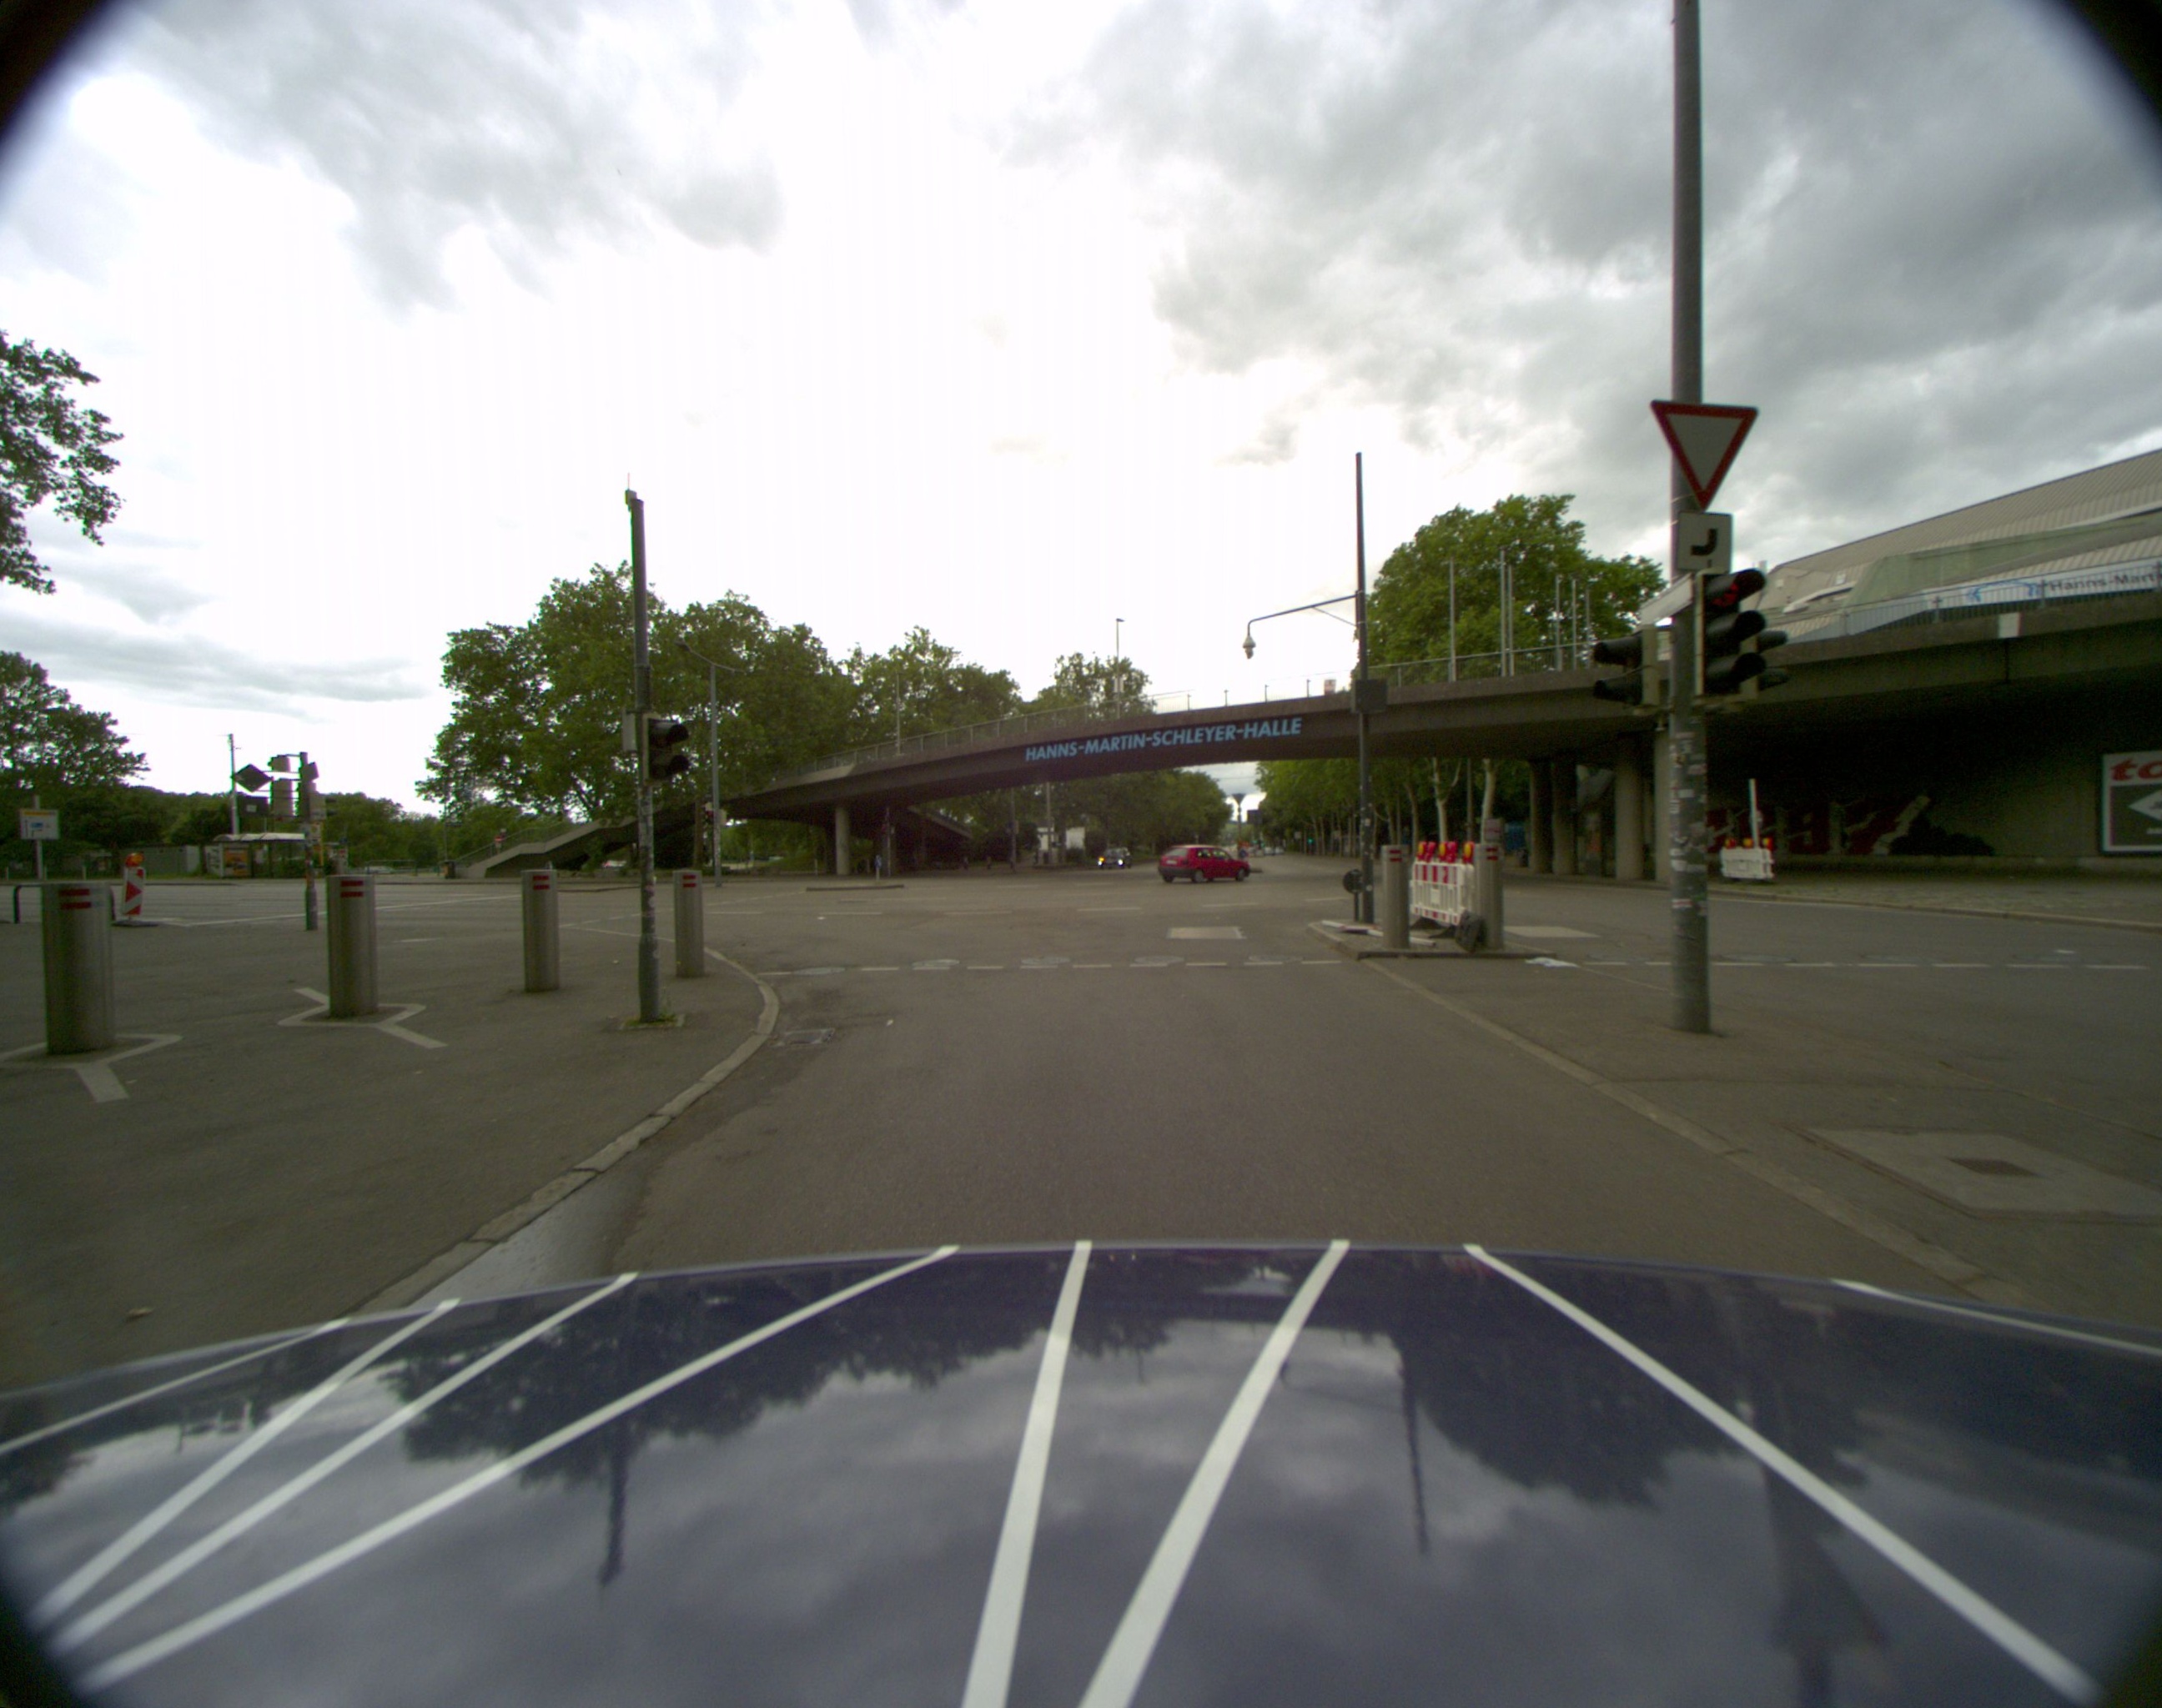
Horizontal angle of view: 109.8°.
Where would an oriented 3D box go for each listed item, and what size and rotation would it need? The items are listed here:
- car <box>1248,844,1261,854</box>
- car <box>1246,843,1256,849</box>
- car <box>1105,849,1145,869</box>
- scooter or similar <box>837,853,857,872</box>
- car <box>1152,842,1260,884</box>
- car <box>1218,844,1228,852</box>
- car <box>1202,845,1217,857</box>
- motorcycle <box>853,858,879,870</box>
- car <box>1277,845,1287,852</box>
[{"bbox_3d":[27.092,-0.766,118.930,1.996,1.411,4.003,0,1,12],"label":"car"},{"bbox_3d":[42.599,-2.019,190.155,1.998,1.650,4.001,-1,1,5],"label":"car"},{"bbox_3d":[3.210,0.333,55.170,1.759,1.314,3.721,0,3,23],"label":"car"},{"bbox_3d":[-16.043,0.569,52.082,1.225,1.311,0.417,2,1,11],"label":"scooter or similar"},{"bbox_3d":[4.887,0.311,29.475,4.084,1.443,1.829,-2,2,-37],"label":"car"},{"bbox_3d":[27.553,-1.169,147.363,1.760,1.357,3.719,0,3,15],"label":"car"},{"bbox_3d":[16.190,-0.437,95.568,1.760,1.356,3.718,0,3,13],"label":"car"},{"bbox_3d":[-15.656,0.740,55.345,1.734,0.846,0.650,0,1,17],"label":"motorcycle"},{"bbox_3d":[39.693,-1.122,150.069,1.613,1.305,3.398,0,1,12],"label":"car"}]
